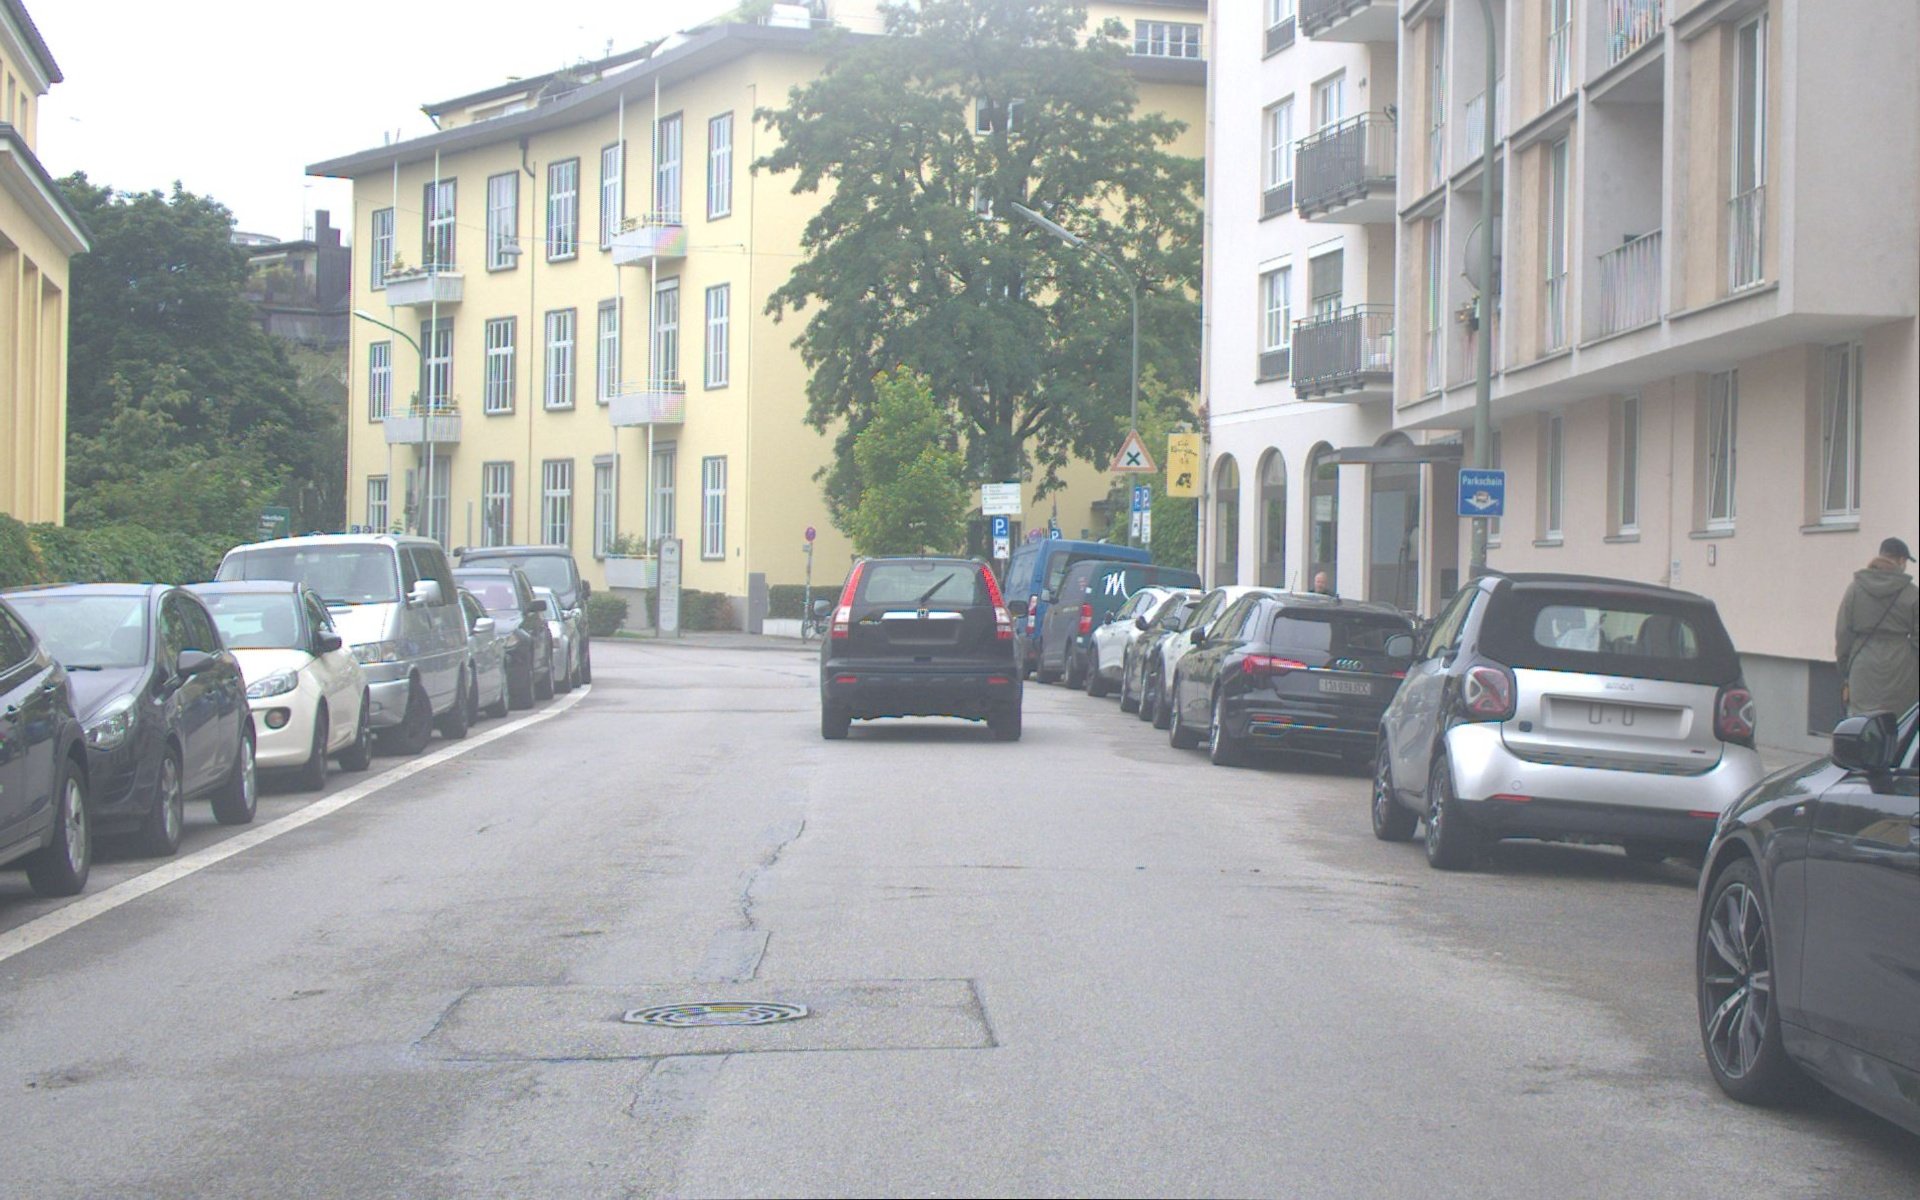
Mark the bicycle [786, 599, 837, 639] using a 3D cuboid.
[{"bbox_3d":[-4.151,0.531,95.786,0.608,1.069,2.218,0,1,-25],"label":"bicycle"}]

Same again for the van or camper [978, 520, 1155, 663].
[{"bbox_3d":[1.676,-0.166,56.168,2.060,2.223,5.439,0,1,-7],"label":"van or camper"}]

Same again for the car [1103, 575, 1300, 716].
[{"bbox_3d":[2.722,0.480,39.679,1.739,1.494,4.496,0,1,-3],"label":"car"}]

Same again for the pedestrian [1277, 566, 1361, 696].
[{"bbox_3d":[4.733,0.399,45.390,0.898,1.682,1.320,0,0,-3],"label":"pedestrian"}]

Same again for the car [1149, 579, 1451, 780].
[{"bbox_3d":[2.775,0.607,29.009,1.796,1.416,4.483,4,1,-3],"label":"car"}]

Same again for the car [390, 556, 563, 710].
[{"bbox_3d":[-5.689,0.347,40.848,1.619,1.724,4.425,0,1,-3],"label":"car"}]

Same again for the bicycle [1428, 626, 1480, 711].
[{"bbox_3d":[6.119,0.843,42.601,0.423,1.020,1.301,0,0,-2],"label":"bicycle"}]

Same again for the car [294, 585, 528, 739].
[{"bbox_3d":[-5.616,0.592,35.628,1.701,1.418,4.425,-2,0,-1],"label":"car"}]

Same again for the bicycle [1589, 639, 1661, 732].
[{"bbox_3d":[6.971,0.888,36.091,0.444,0.932,1.401,0,0,-2],"label":"bicycle"}]

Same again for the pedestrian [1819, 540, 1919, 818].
[{"bbox_3d":[5.553,0.464,20.692,0.596,1.648,0.630,0,1,-1],"label":"pedestrian"}]

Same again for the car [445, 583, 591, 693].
[{"bbox_3d":[-5.887,0.472,46.132,1.619,1.373,4.072,0,1,-3],"label":"car"}]

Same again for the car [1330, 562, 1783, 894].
[{"bbox_3d":[3.166,0.616,18.990,1.671,1.529,3.881,4,1,-1],"label":"car"}]

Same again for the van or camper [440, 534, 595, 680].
[{"bbox_3d":[-6.473,0.067,50.757,1.960,2.058,4.754,0,1,-4],"label":"van or camper"}]

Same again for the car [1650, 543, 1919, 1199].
[{"bbox_3d":[3.087,0.688,7.820,1.855,1.539,4.816,3,1,-2],"label":"car"}]

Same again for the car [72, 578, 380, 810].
[{"bbox_3d":[-5.218,0.615,24.840,1.578,1.487,3.730,-2,1,-3],"label":"car"}]

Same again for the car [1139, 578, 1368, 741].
[{"bbox_3d":[2.905,0.558,34.849,1.739,1.494,4.220,1,1,-3],"label":"car"}]

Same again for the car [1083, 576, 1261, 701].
[{"bbox_3d":[2.716,0.463,44.953,1.739,1.532,4.274,0,1,-4],"label":"car"}]

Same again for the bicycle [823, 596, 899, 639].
[{"bbox_3d":[-2.705,0.468,93.708,2.215,1.113,0.609,1,0,40],"label":"bicycle"}]

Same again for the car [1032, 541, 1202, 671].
[{"bbox_3d":[2.243,0.048,50.447,1.964,1.810,4.936,0,1,-4],"label":"car"}]

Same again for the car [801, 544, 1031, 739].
[{"bbox_3d":[-0.342,0.329,32.061,1.995,1.688,4.380,0,1,1],"label":"car"}]

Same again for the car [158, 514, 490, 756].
[{"bbox_3d":[-5.435,0.263,30.006,1.993,1.869,4.758,-2,0,-1],"label":"car"}]

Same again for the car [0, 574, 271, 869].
[{"bbox_3d":[-5.009,0.620,19.486,1.578,1.450,3.905,-2,1,-3],"label":"car"}]

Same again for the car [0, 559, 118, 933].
[{"bbox_3d":[-4.887,0.630,14.563,1.781,1.532,4.149,-2,1,-3],"label":"car"}]
